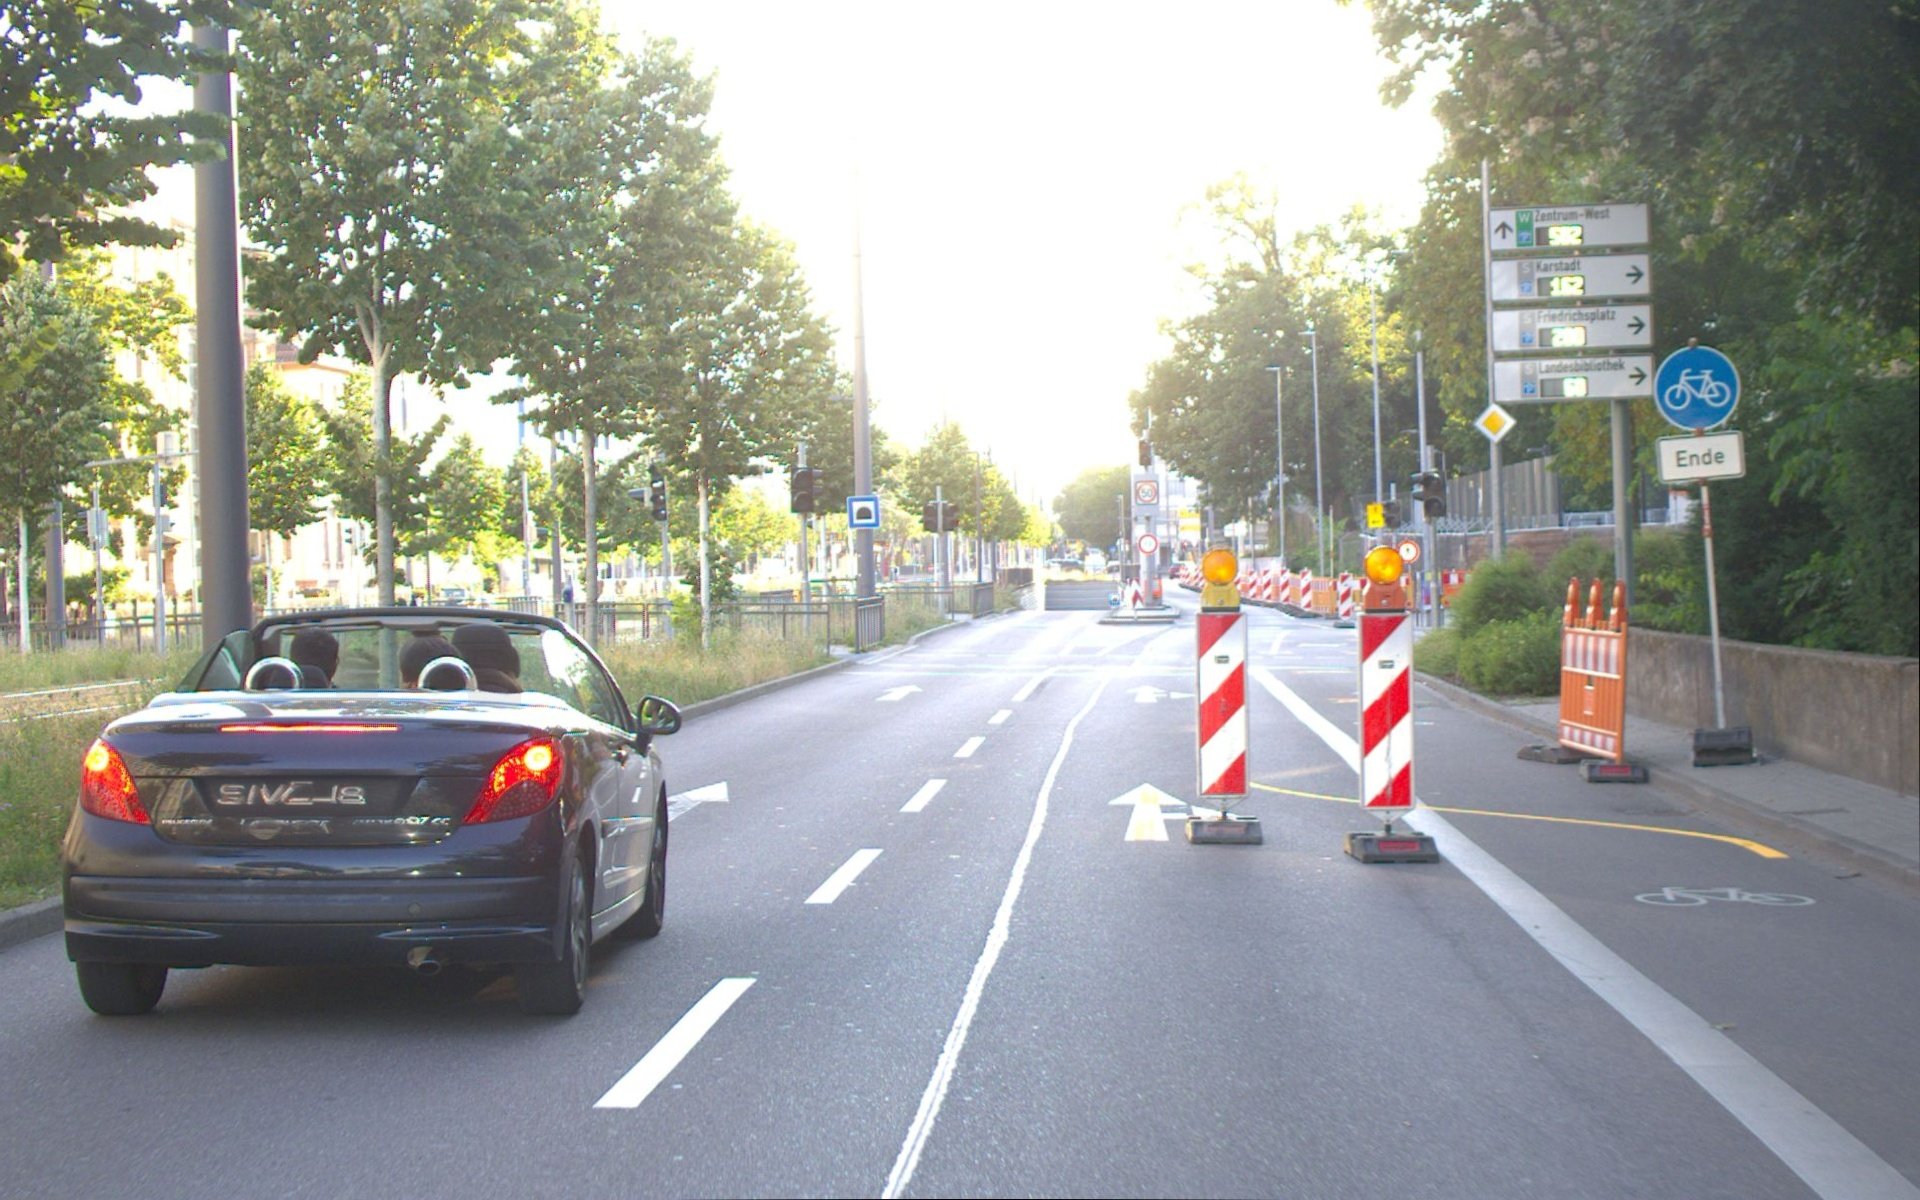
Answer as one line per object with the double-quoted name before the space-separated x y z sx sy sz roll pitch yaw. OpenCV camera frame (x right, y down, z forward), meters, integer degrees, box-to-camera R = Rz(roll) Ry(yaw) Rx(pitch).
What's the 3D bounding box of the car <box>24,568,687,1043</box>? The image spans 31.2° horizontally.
"car" -2.061 0.627 12.773 1.719 1.444 3.901 0 1 1
